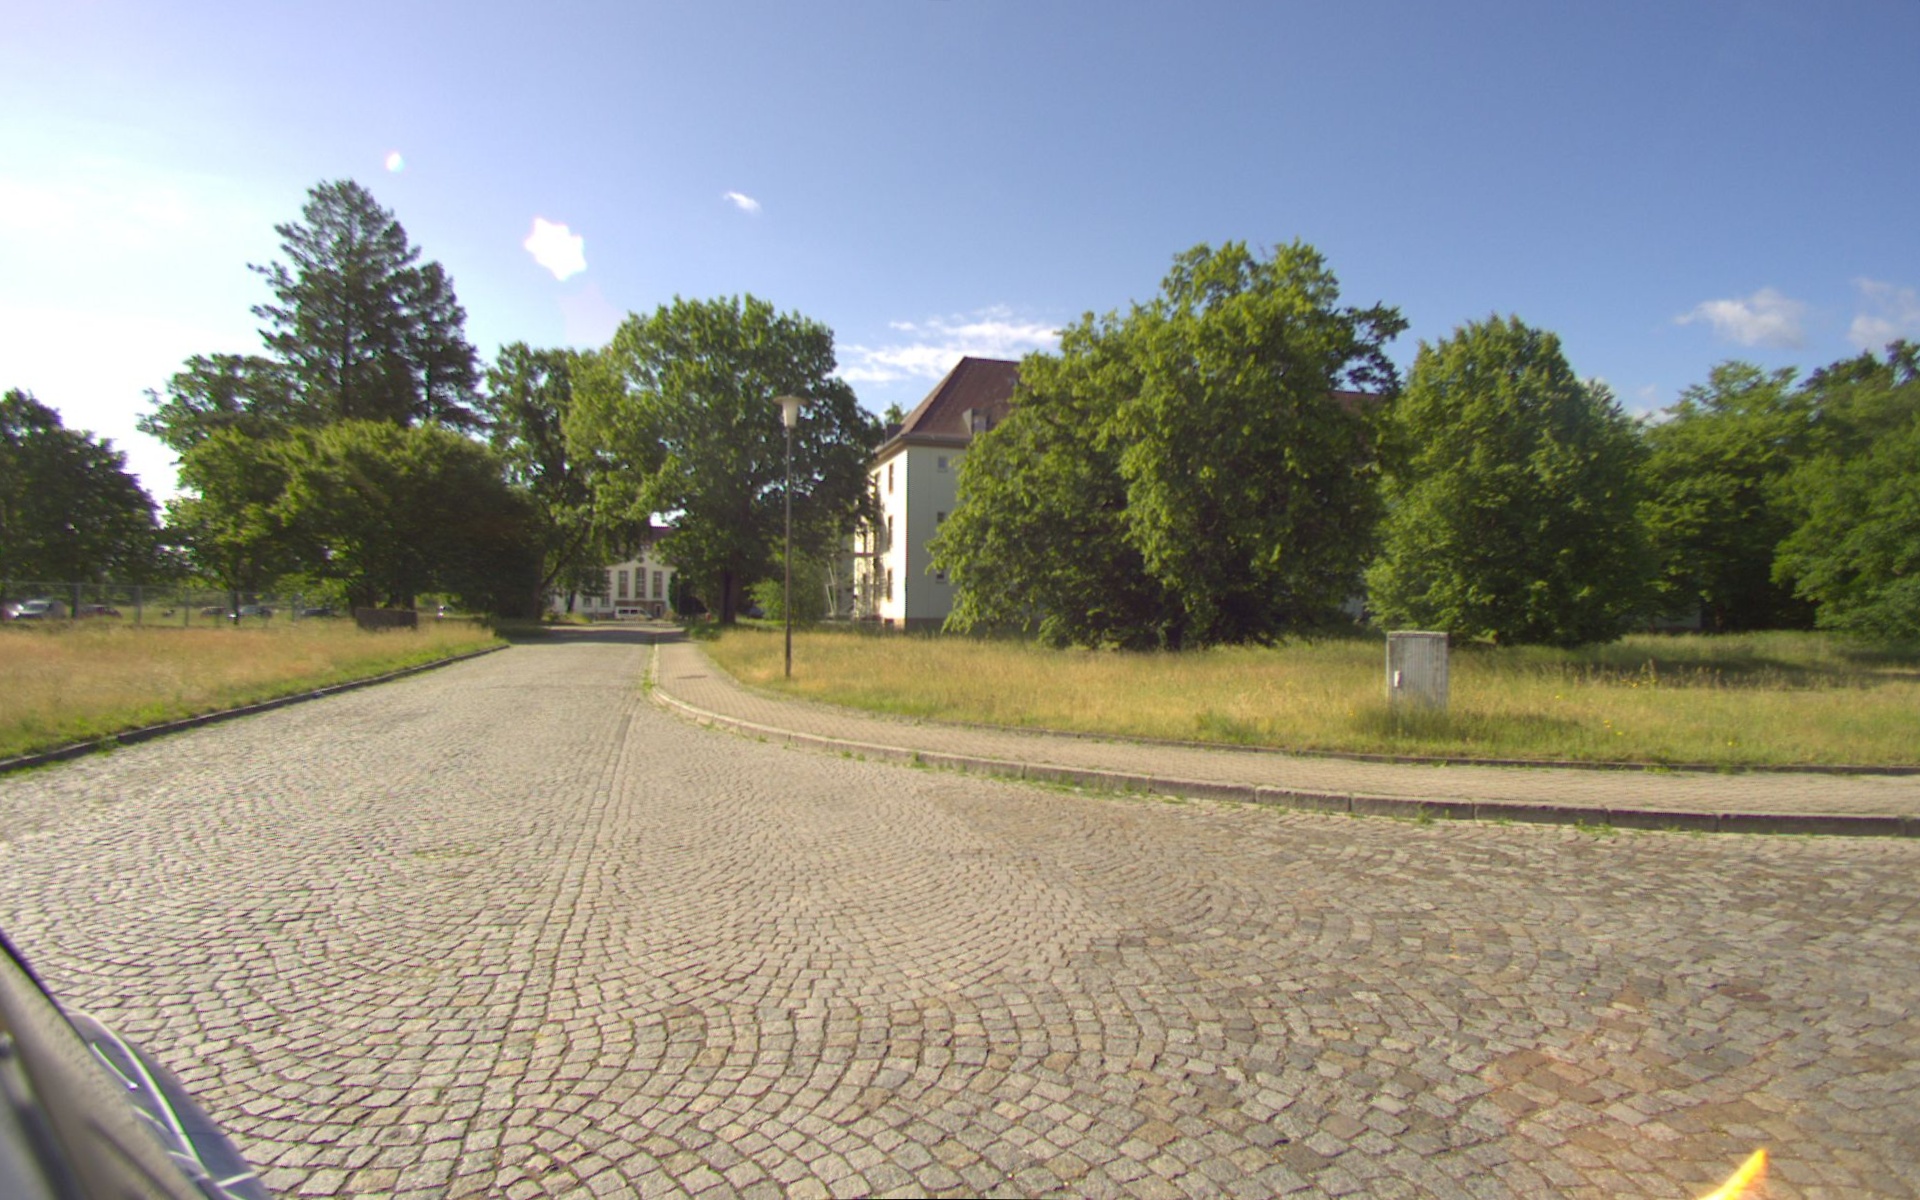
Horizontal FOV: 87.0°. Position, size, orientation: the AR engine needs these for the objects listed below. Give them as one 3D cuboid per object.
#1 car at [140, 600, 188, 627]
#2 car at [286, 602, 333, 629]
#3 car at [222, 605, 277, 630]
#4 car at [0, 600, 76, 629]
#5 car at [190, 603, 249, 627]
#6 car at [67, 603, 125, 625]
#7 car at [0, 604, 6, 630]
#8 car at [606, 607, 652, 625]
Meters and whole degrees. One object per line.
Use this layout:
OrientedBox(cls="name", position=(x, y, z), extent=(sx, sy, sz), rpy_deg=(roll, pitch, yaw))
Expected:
OrientedBox(cls="car", position=(-62.370, 1.084, 79.367), extent=(1.713, 2.029, 3.631), rpy_deg=(1, -1, -17))
OrientedBox(cls="car", position=(-52.016, 1.223, 80.998), extent=(2.208, 2.029, 4.363), rpy_deg=(1, -1, -20))
OrientedBox(cls="car", position=(-56.128, 1.367, 80.054), extent=(2.209, 1.853, 4.362), rpy_deg=(1, -1, -16))
OrientedBox(cls="car", position=(-69.599, 1.039, 76.420), extent=(1.966, 2.029, 6.053), rpy_deg=(-1, 1, -16))
OrientedBox(cls="car", position=(-58.594, 1.207, 80.185), extent=(2.210, 1.853, 4.360), rpy_deg=(1, -1, -13))
OrientedBox(cls="car", position=(-65.994, 1.056, 77.365), extent=(1.966, 1.664, 4.012), rpy_deg=(1, -1, -17))
OrientedBox(cls="car", position=(-73.100, 1.262, 75.200), extent=(1.713, 2.029, 3.631), rpy_deg=(1, -1, -17))
OrientedBox(cls="car", position=(-48.608, 2.311, 148.629), extent=(6.341, 2.485, 2.470), rpy_deg=(1, -1, -16))
